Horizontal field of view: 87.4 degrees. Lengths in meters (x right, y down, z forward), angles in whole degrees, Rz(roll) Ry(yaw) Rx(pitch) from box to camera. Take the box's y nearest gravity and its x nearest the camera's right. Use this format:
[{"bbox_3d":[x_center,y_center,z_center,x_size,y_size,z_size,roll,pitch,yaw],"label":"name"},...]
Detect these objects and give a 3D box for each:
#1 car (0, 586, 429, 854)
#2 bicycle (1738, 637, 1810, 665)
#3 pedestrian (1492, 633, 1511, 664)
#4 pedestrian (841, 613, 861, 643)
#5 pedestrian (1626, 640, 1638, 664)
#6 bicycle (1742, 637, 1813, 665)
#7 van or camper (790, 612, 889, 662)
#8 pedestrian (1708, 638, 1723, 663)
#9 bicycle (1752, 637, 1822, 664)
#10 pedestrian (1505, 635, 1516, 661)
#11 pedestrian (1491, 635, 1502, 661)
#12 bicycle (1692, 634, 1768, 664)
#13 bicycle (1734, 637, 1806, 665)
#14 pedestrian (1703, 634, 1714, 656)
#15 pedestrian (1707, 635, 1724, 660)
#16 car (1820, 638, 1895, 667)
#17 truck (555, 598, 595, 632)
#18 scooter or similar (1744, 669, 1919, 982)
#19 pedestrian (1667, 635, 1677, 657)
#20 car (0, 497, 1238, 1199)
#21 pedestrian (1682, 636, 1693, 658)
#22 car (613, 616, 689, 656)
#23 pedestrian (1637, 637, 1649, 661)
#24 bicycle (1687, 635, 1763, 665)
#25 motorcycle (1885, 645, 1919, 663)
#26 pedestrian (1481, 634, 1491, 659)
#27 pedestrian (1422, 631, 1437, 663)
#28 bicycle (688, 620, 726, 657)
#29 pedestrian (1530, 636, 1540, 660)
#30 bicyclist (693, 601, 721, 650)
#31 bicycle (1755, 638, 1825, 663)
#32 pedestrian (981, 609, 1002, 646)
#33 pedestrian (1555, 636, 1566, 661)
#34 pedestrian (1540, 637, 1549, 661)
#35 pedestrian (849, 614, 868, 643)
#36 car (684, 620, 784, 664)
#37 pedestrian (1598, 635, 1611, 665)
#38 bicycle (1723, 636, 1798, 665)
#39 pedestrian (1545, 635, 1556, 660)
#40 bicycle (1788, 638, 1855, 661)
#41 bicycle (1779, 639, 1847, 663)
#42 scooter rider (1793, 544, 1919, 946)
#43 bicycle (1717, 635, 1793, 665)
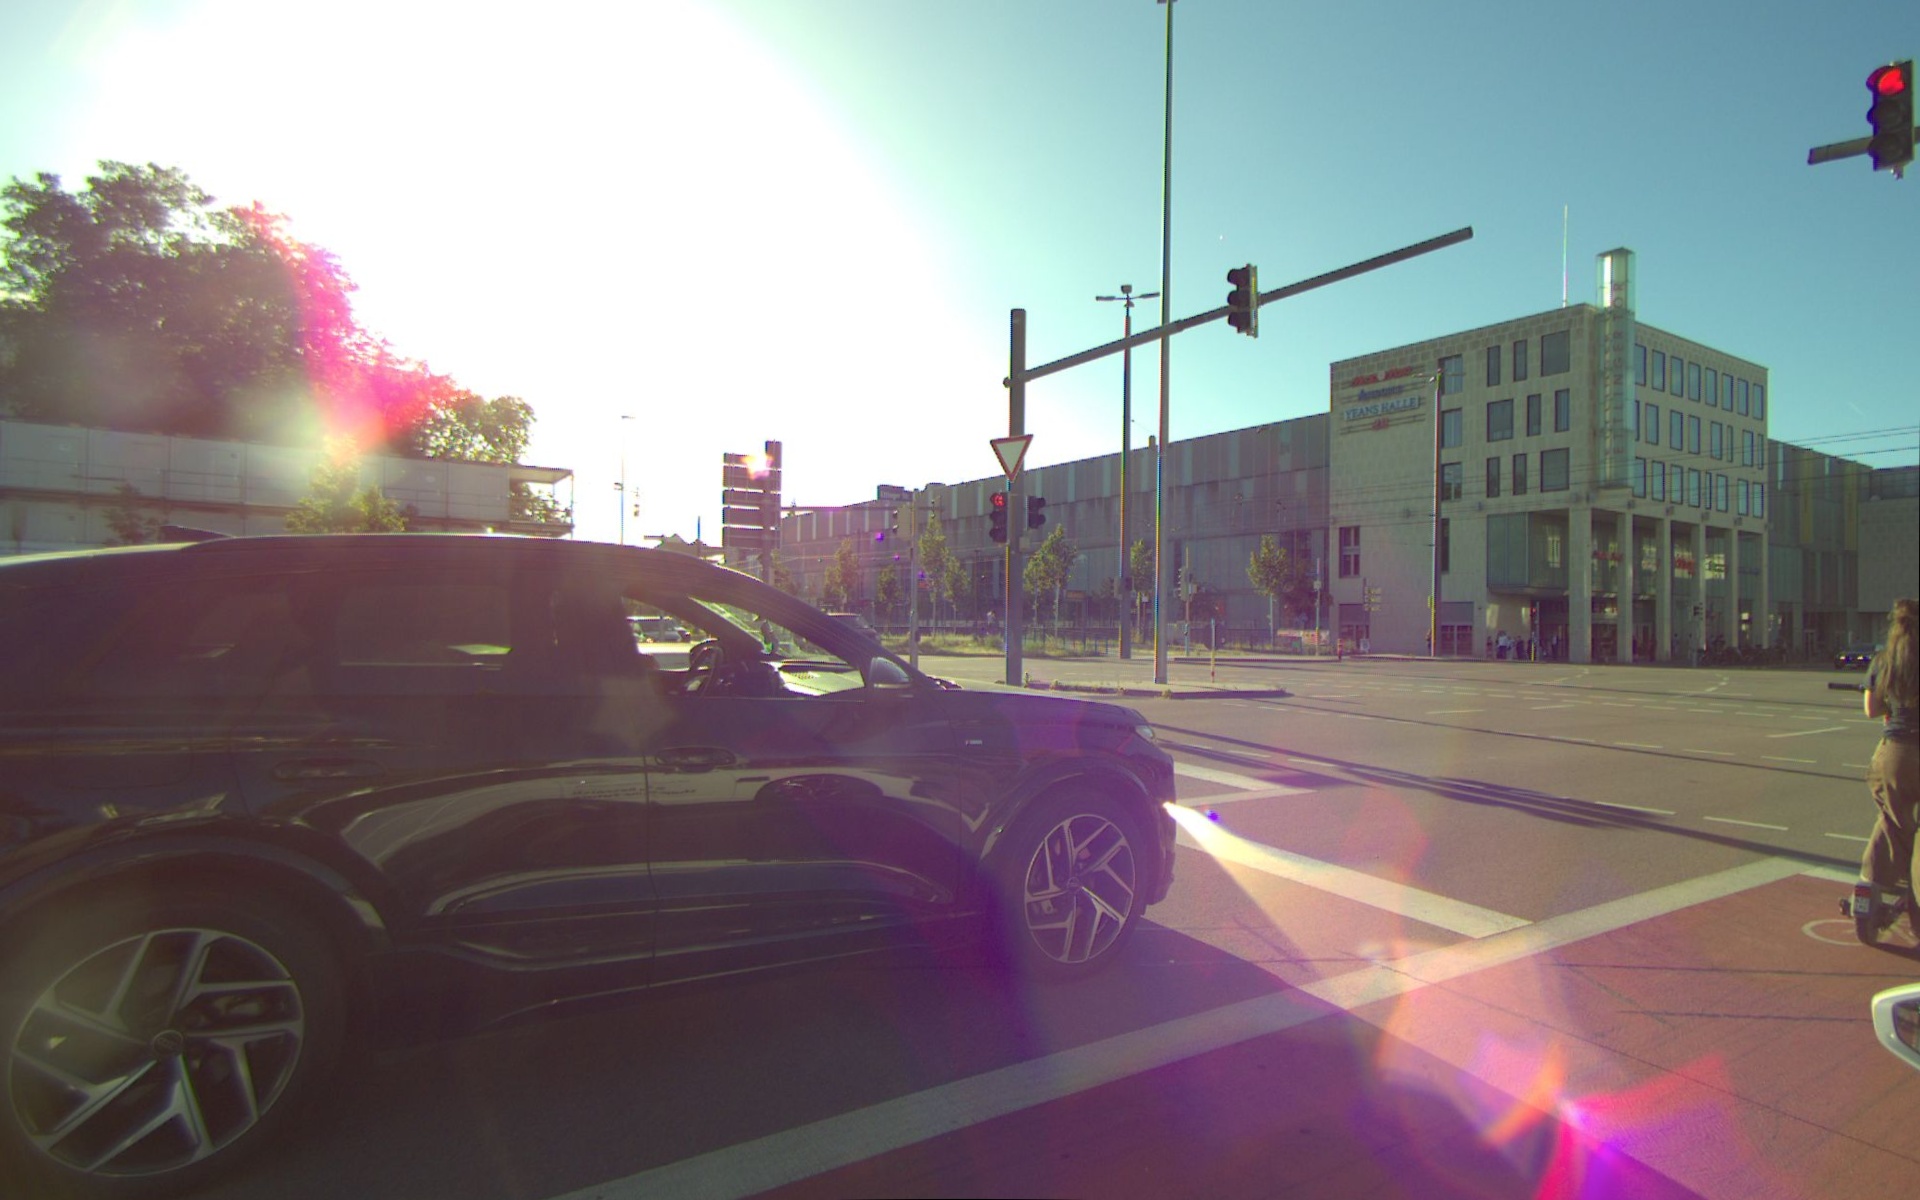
[{"bbox_3d":[-5.820,0.640,6.207,4.431,1.425,1.986,1,0,-28],"label":"car"},{"bbox_3d":[51.948,3.228,64.162,0.979,1.719,3.462,2,-2,-40],"label":"bicycle"},{"bbox_3d":[32.292,2.914,59.945,0.729,1.822,0.752,1,-1,-34],"label":"pedestrian"},{"bbox_3d":[-7.141,1.818,65.663,0.891,1.855,0.786,5,-2,-39],"label":"pedestrian"},{"bbox_3d":[44.159,3.408,66.025,0.508,1.606,0.479,1,-1,-34],"label":"pedestrian"},{"bbox_3d":[52.862,3.260,64.966,0.979,1.719,3.462,2,-2,-40],"label":"bicycle"},{"bbox_3d":[-5.218,1.553,43.095,1.983,2.040,4.818,2,-2,-38],"label":"van or camper"},{"bbox_3d":[50.367,3.363,66.932,0.689,1.664,0.648,1,-1,-38],"label":"pedestrian"},{"bbox_3d":[54.508,3.322,66.256,0.979,1.719,3.462,2,-2,-40],"label":"bicycle"},{"bbox_3d":[33.337,2.915,60.832,0.453,1.547,0.418,1,-1,-37],"label":"pedestrian"},{"bbox_3d":[32.767,2.923,61.328,0.452,1.586,0.420,1,-1,-30],"label":"pedestrian"},{"bbox_3d":[46.578,2.944,60.800,1.107,1.719,3.465,1,-2,-38],"label":"bicycle"},{"bbox_3d":[51.122,3.191,63.428,0.979,1.719,3.462,2,-2,-40],"label":"bicycle"},{"bbox_3d":[54.431,3.263,73.017,0.508,1.530,0.479,1,-1,-34],"label":"pedestrian"},{"bbox_3d":[52.344,3.286,69.575,0.689,1.664,0.778,1,-1,-39],"label":"pedestrian"},{"bbox_3d":[49.567,2.896,55.448,3.953,1.505,1.984,1,-1,-30],"label":"car"},{"bbox_3d":[-33.474,1.320,87.258,1.979,2.875,6.293,1,-2,-33],"label":"truck"},{"bbox_3d":[4.511,0.968,4.740,1.645,1.218,0.725,1,-1,-30],"label":"scooter or similar"},{"bbox_3d":[50.740,3.287,71.579,0.508,1.530,0.479,1,-1,-34],"label":"pedestrian"},{"bbox_3d":[-1.233,0.647,3.918,4.566,1.666,1.922,1,-1,-32],"label":"car"},{"bbox_3d":[51.526,3.309,71.146,0.508,1.530,0.479,1,-1,-34],"label":"pedestrian"},{"bbox_3d":[-14.905,1.701,48.257,1.981,1.849,4.821,1,-2,-36],"label":"car"},{"bbox_3d":[44.937,3.203,66.068,0.508,1.530,0.479,1,-1,-34],"label":"pedestrian"},{"bbox_3d":[45.702,2.977,60.037,1.107,1.719,3.465,1,-2,-38],"label":"bicycle"},{"bbox_3d":[70.738,4.020,75.105,0.713,1.335,2.260,1,-2,-34],"label":"motorcycle"},{"bbox_3d":[32.227,2.862,61.537,0.454,1.521,0.418,1,-1,-41],"label":"pedestrian"},{"bbox_3d":[25.019,2.508,53.539,0.540,1.716,0.524,1,-1,-22],"label":"pedestrian"},{"bbox_3d":[-14.461,2.182,57.236,1.007,2.040,3.472,1,-2,-33],"label":"bicycle"},{"bbox_3d":[34.429,2.857,60.173,0.499,1.445,0.383,1,-1,-42],"label":"pedestrian"},{"bbox_3d":[-14.011,1.413,55.668,1.007,2.677,1.610,1,-1,-34],"label":"bicyclist"},{"bbox_3d":[55.259,3.331,66.925,0.979,1.547,3.462,2,-2,-40],"label":"bicycle"},{"bbox_3d":[1.586,1.380,50.598,0.788,1.855,0.706,1,-1,-37],"label":"pedestrian"},{"bbox_3d":[38.494,3.083,64.395,0.493,1.606,0.426,1,-1,-34],"label":"pedestrian"},{"bbox_3d":[34.881,2.919,59.958,0.435,1.431,0.382,2,-2,-44],"label":"pedestrian"},{"bbox_3d":[-6.539,1.835,64.752,0.889,1.855,0.787,1,-1,-35],"label":"pedestrian"},{"bbox_3d":[-9.396,1.700,41.519,2.313,1.671,4.821,1,-2,-37],"label":"car"},{"bbox_3d":[36.277,2.794,56.538,0.534,1.664,0.547,-1,-1,42],"label":"pedestrian"},{"bbox_3d":[49.147,3.081,61.743,1.107,1.719,3.465,1,-2,-38],"label":"bicycle"},{"bbox_3d":[38.012,3.070,64.674,0.493,1.606,0.426,1,-1,-34],"label":"pedestrian"},{"bbox_3d":[60.385,3.436,70.474,0.979,1.547,3.462,2,-2,-40],"label":"bicycle"},{"bbox_3d":[58.877,3.481,69.393,0.979,1.547,3.462,2,-2,-40],"label":"bicycle"},{"bbox_3d":[4.599,0.657,4.791,0.801,1.798,0.725,1,-1,-30],"label":"scooter rider"},{"bbox_3d":[48.218,3.014,60.942,1.107,1.719,3.465,1,-2,-38],"label":"bicycle"}]
